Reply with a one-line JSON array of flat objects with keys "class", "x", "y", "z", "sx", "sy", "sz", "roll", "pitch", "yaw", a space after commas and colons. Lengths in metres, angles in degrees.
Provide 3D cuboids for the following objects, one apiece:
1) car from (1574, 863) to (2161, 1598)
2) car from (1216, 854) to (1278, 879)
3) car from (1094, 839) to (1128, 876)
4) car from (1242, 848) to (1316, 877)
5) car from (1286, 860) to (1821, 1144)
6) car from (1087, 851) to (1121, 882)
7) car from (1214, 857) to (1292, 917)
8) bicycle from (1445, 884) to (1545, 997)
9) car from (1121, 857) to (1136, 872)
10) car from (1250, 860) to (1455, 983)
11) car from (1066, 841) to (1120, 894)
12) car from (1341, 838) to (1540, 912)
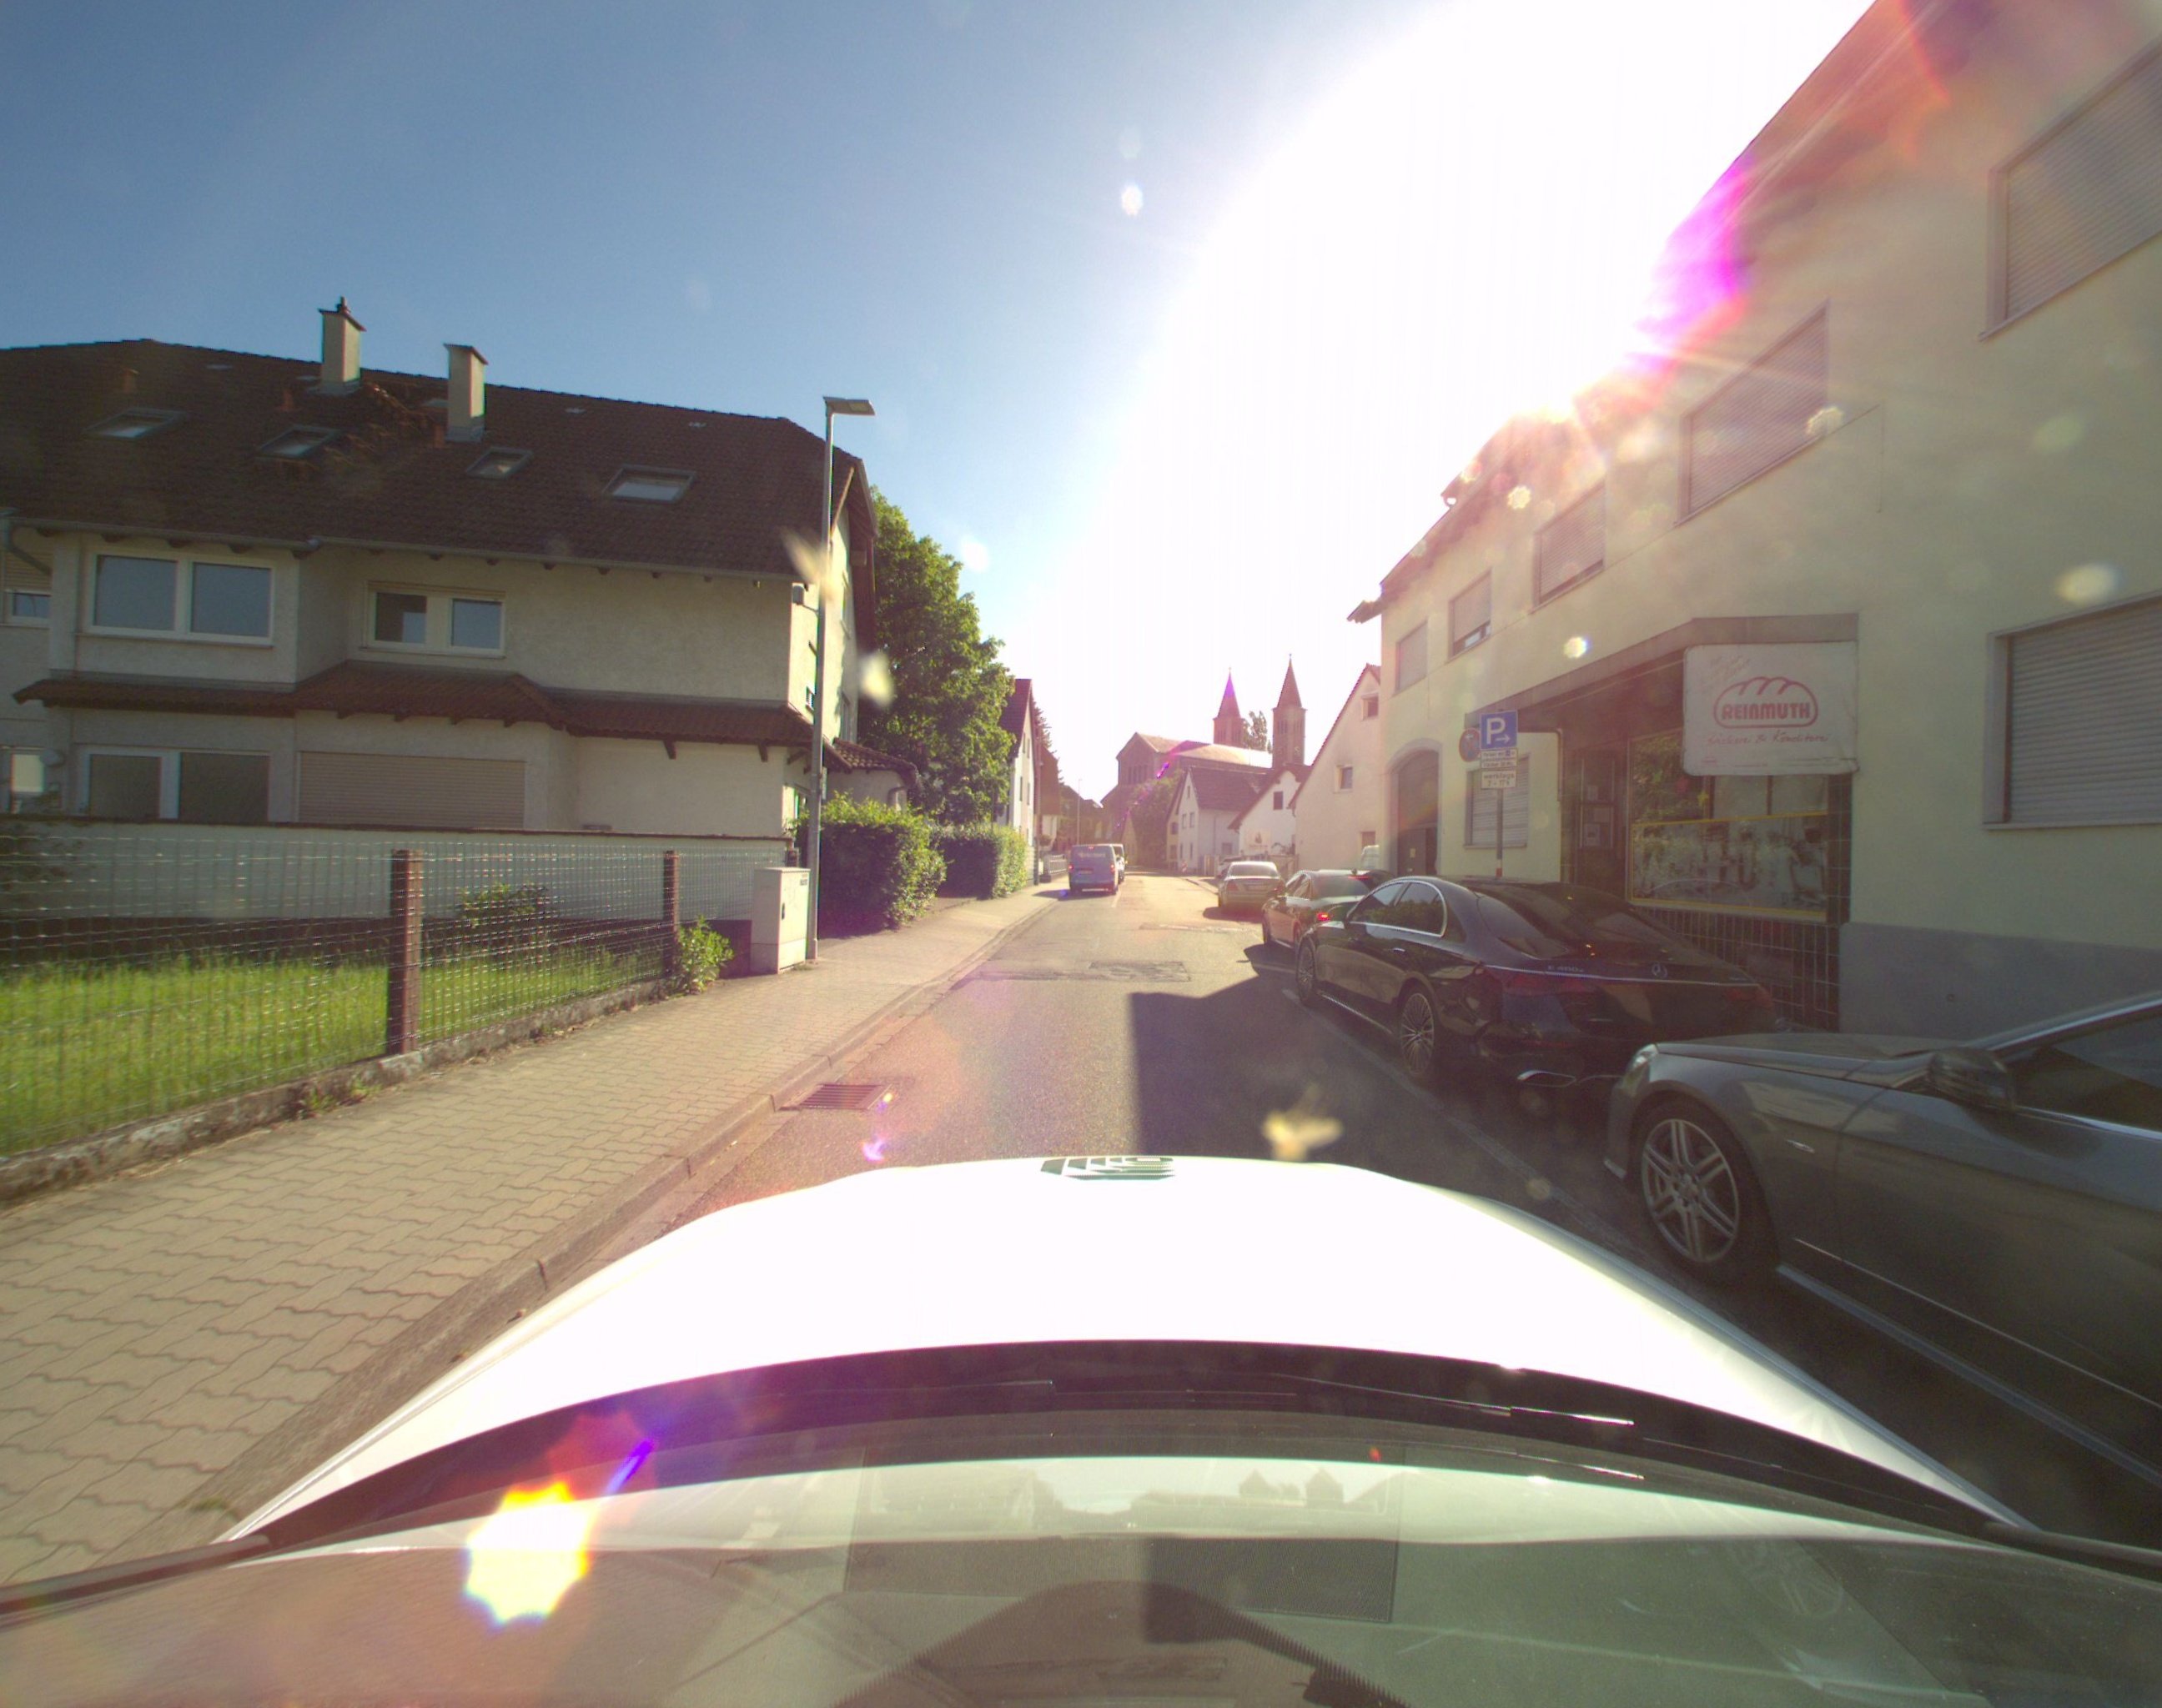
[{"class": "car", "x": 3.130, "y": 0.822, "z": 1.515, "sx": 1.801, "sy": 1.475, "sz": 4.446, "roll": 3, "pitch": 0, "yaw": 2}, {"class": "car", "x": 10.780, "y": 0.801, "z": 52.852, "sx": 3.886, "sy": 1.492, "sz": 1.853, "roll": 1, "pitch": 0, "yaw": 12}, {"class": "car", "x": 2.104, "y": 0.230, "z": 55.792, "sx": 2.187, "sy": 2.390, "sz": 6.069, "roll": -1, "pitch": 0, "yaw": 3}, {"class": "car", "x": 12.060, "y": 0.498, "z": 49.570, "sx": 4.056, "sy": 1.688, "sz": 1.896, "roll": 1, "pitch": 0, "yaw": -25}, {"class": "car", "x": 3.221, "y": 0.843, "z": 6.920, "sx": 1.802, "sy": 1.475, "sz": 4.845, "roll": 3, "pitch": -1, "yaw": 1}, {"class": "car", "x": 1.269, "y": 0.638, "z": 44.063, "sx": 1.707, "sy": 1.598, "sz": 3.928, "roll": 0, "pitch": 0, "yaw": 3}, {"class": "car", "x": 4.889, "y": 0.870, "z": 23.645, "sx": 1.802, "sy": 1.475, "sz": 4.669, "roll": 2, "pitch": 0, "yaw": 7}, {"class": "bicycle", "x": 4.808, "y": 0.960, "z": 9.551, "sx": 0.505, "sy": 1.157, "sz": 1.509, "roll": 0, "pitch": 0, "yaw": 4}, {"class": "car", "x": 5.028, "y": 1.113, "z": 85.761, "sx": 1.567, "sy": 1.546, "sz": 2.968, "roll": 1, "pitch": 0, "yaw": 3}, {"class": "car", "x": 4.032, "y": 0.889, "z": 12.997, "sx": 1.801, "sy": 1.475, "sz": 4.847, "roll": 3, "pitch": 0, "yaw": 3}, {"class": "car", "x": 0.579, "y": 0.491, "z": 32.564, "sx": 1.894, "sy": 1.917, "sz": 5.075, "roll": 0, "pitch": 0, "yaw": 4}, {"class": "car", "x": 9.923, "y": 0.555, "z": 22.707, "sx": 4.753, "sy": 1.886, "sz": 1.906, "roll": -1, "pitch": 0, "yaw": -4}]
